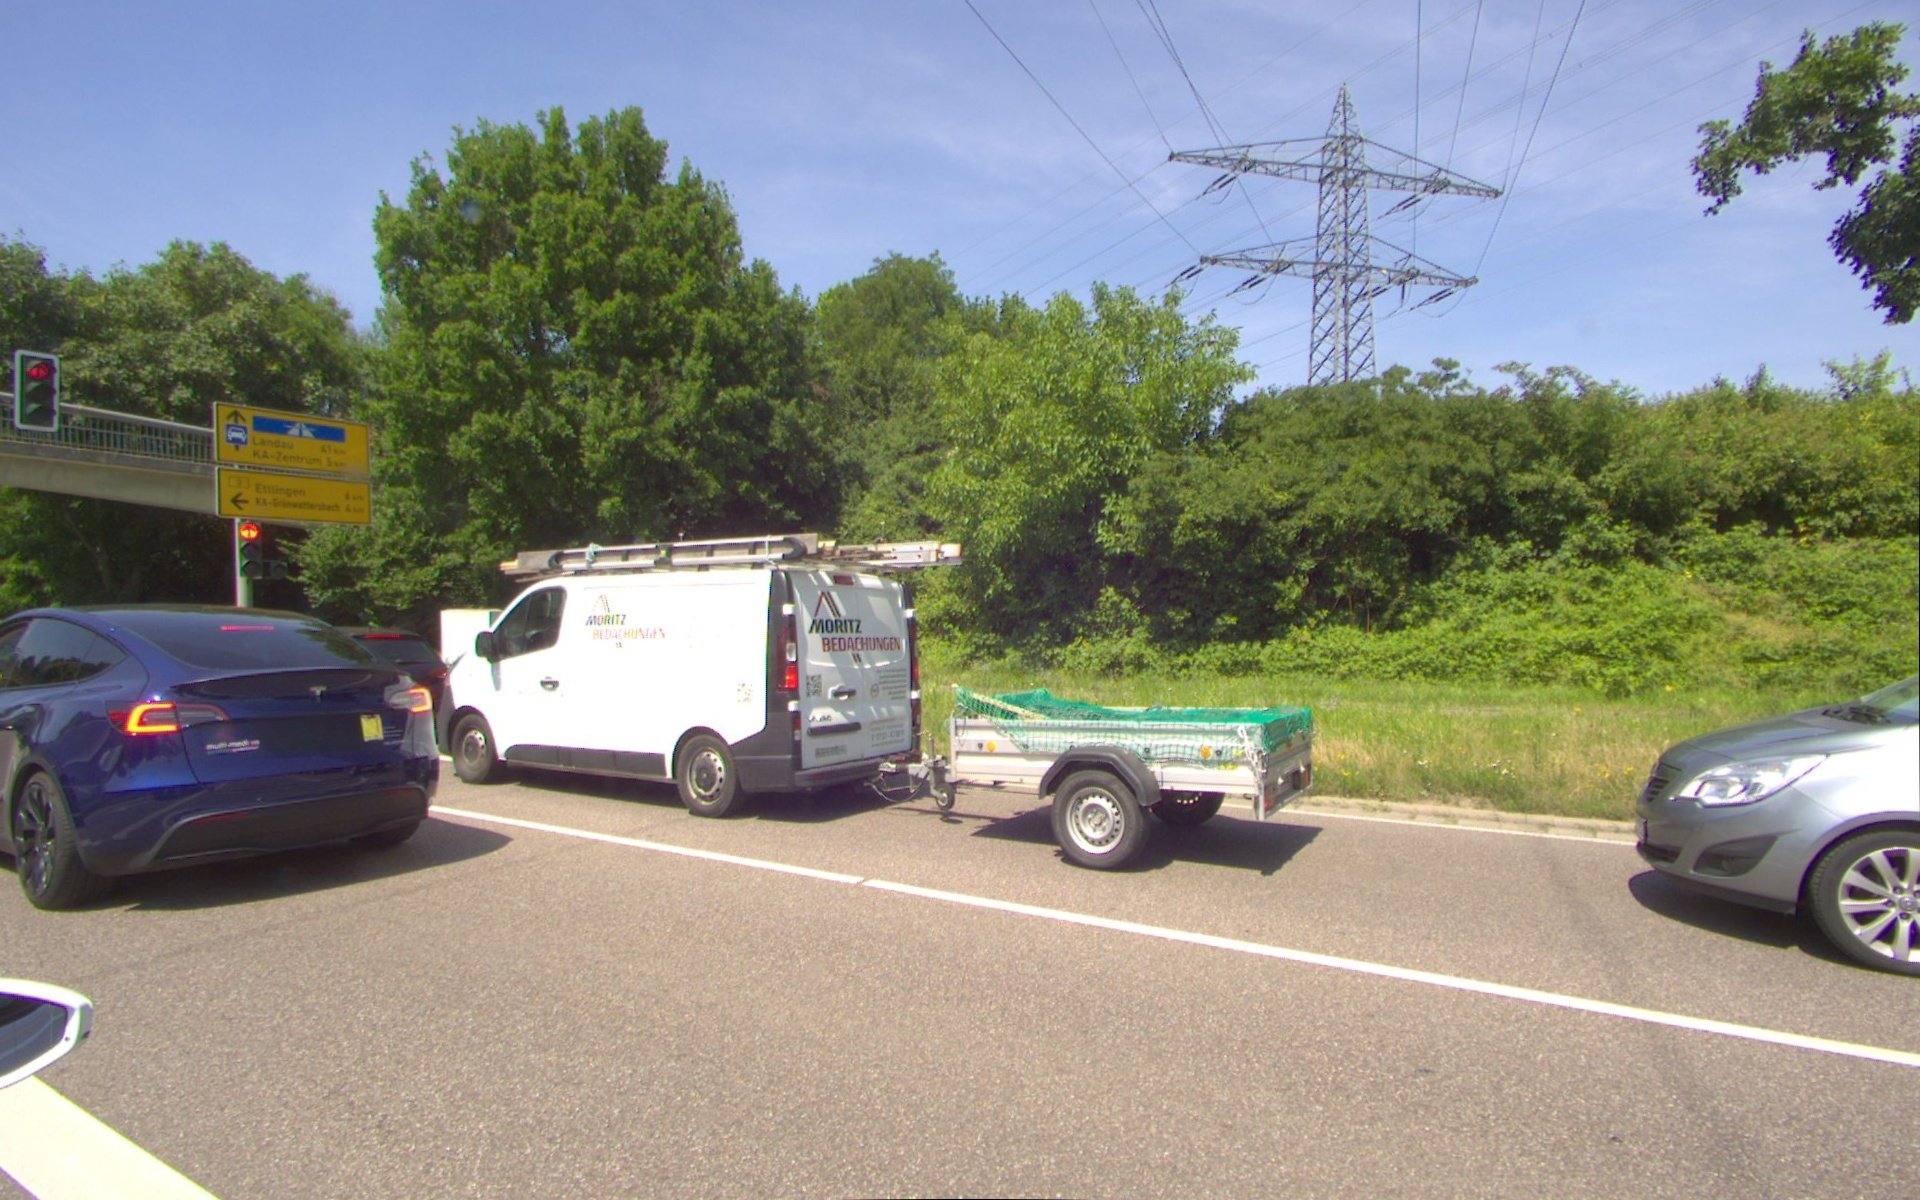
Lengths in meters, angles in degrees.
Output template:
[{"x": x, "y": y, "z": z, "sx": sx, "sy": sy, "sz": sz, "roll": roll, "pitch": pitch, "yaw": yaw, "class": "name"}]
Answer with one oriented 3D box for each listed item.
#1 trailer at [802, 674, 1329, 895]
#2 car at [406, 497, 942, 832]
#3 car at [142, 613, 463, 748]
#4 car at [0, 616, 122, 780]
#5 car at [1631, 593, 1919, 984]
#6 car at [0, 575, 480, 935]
[{"x": 0.700, "y": 1.115, "z": 6.998, "sx": 3.276, "sy": 1.019, "sz": 1.703, "roll": -1, "pitch": -1, "yaw": 32, "class": "trailer"}, {"x": -2.777, "y": 0.511, "z": 9.278, "sx": 5.002, "sy": 2.379, "sz": 1.929, "roll": -1, "pitch": -1, "yaw": 32, "class": "car"}, {"x": -8.635, "y": 0.942, "z": 13.069, "sx": 4.318, "sy": 1.497, "sz": 1.897, "roll": -1, "pitch": -2, "yaw": 32, "class": "car"}, {"x": -10.418, "y": 0.911, "z": 10.123, "sx": 3.882, "sy": 1.497, "sz": 1.897, "roll": -1, "pitch": -1, "yaw": 32, "class": "car"}, {"x": 5.382, "y": 0.776, "z": 4.278, "sx": 4.105, "sy": 1.616, "sz": 1.761, "roll": 0, "pitch": 0, "yaw": 32, "class": "car"}, {"x": -5.382, "y": 0.762, "z": 6.645, "sx": 4.455, "sy": 1.665, "sz": 1.897, "roll": -1, "pitch": -1, "yaw": 32, "class": "car"}]
